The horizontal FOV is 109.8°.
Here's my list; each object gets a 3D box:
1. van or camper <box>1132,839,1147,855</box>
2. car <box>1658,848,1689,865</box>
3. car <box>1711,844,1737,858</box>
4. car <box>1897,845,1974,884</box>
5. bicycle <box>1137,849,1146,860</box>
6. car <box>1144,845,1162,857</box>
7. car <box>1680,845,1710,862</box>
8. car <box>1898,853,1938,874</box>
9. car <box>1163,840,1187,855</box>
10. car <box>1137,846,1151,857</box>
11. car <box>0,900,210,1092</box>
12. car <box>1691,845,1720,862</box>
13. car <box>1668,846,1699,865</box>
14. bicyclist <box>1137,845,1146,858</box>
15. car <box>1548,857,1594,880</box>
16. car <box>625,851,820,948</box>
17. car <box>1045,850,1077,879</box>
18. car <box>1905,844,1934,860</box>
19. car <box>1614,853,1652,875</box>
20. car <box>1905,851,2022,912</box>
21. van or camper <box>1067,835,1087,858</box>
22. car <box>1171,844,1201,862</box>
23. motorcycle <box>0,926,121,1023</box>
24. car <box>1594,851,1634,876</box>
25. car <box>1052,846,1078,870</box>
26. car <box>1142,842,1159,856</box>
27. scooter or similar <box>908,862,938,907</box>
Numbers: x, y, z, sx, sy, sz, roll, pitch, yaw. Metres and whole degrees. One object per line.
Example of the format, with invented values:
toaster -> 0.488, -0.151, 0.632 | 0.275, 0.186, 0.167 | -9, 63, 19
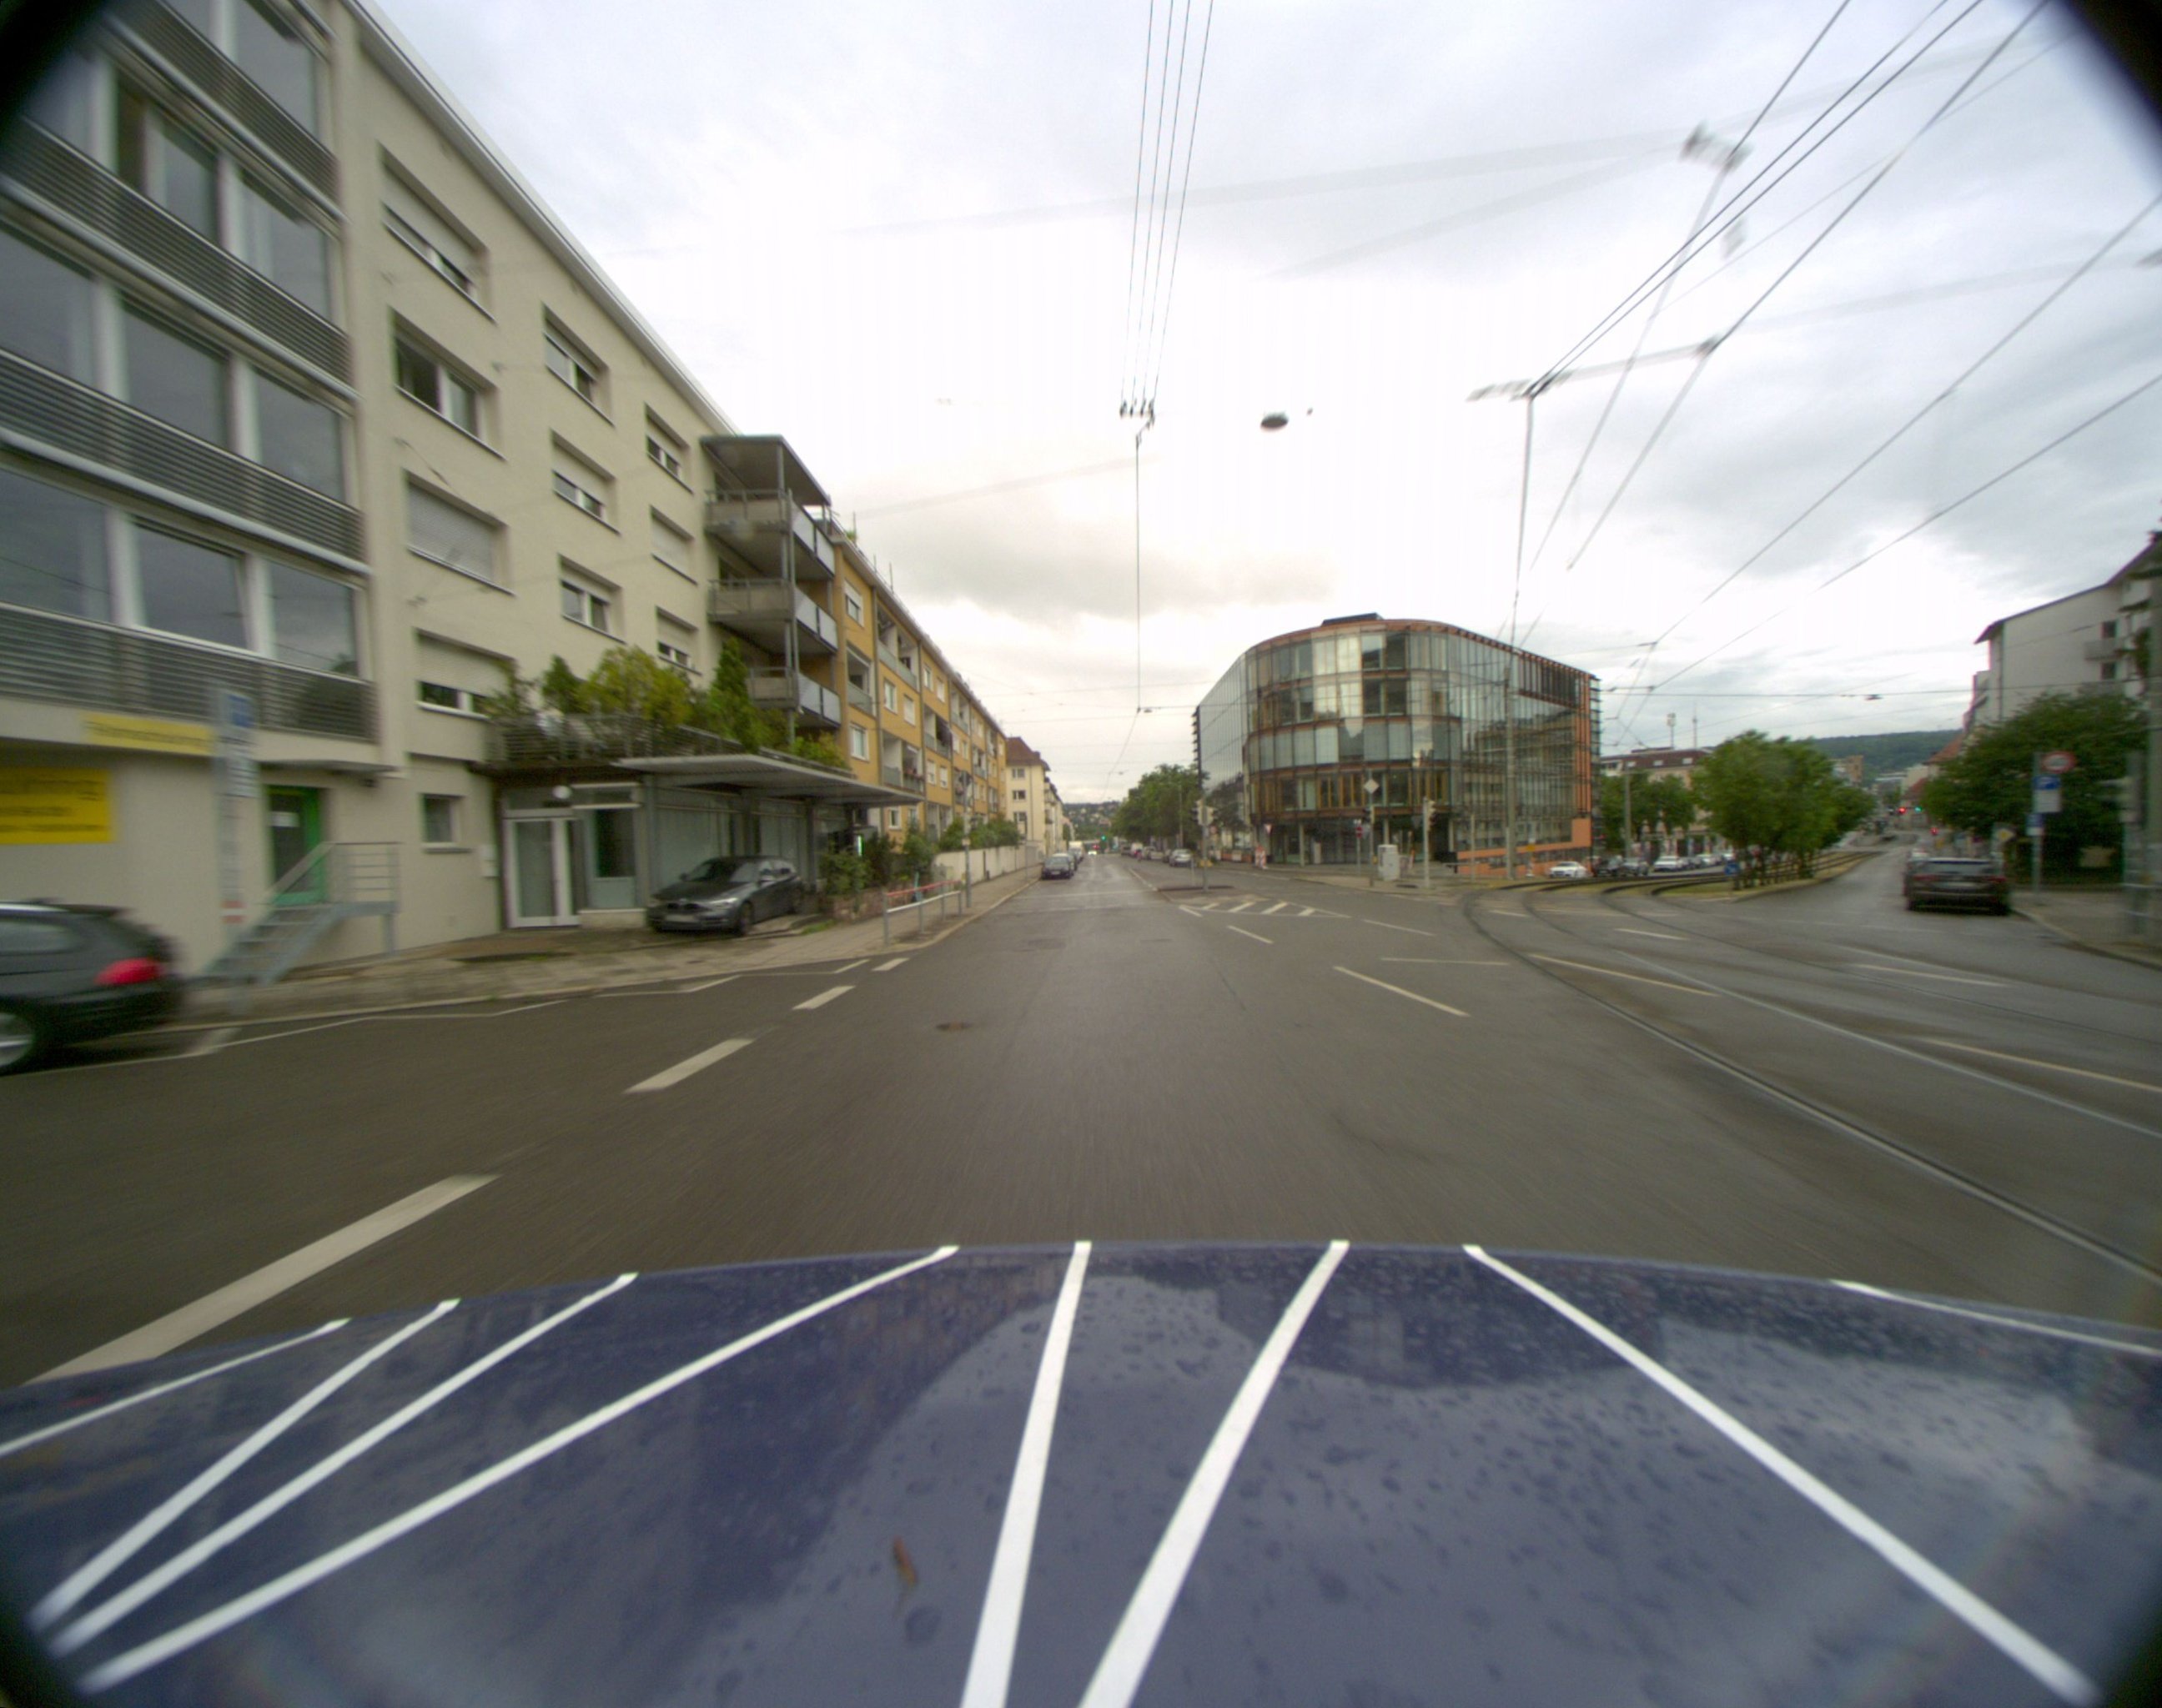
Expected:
van or camper -> 10.431, -1.232, 135.760 | 2.143, 2.588, 5.548 | -3, 2, 2
car -> 61.973, 0.268, 79.488 | 4.006, 1.501, 1.784 | -5, 3, -40
car -> 82.209, -0.423, 97.181 | 4.008, 1.740, 1.912 | -2, 1, -40
car -> 35.363, 0.494, 31.557 | 4.322, 1.498, 1.994 | 2, -2, -43
bicycle -> 7.030, 0.031, 88.187 | 0.826, 1.142, 2.126 | -2, 2, 1
car -> 9.843, -0.452, 104.066 | 1.881, 1.390, 3.997 | -2, 2, -2
car -> 69.328, -0.062, 85.827 | 4.006, 1.740, 1.912 | -5, 3, -40
car -> 64.015, 0.750, 58.159 | 4.322, 1.498, 1.994 | 2, -2, -43
car -> 9.814, -0.687, 79.686 | 1.727, 1.456, 4.328 | -1, 1, -3
car -> 10.753, -0.420, 129.711 | 1.998, 1.566, 3.998 | -3, 2, 0
car -> -10.147, 1.143, 5.755 | 4.459, 1.448, 1.996 | 1, -2, -42
car -> 73.656, -0.095, 89.622 | 4.006, 1.740, 1.912 | -5, 3, -40
car -> 65.183, 0.116, 82.187 | 4.006, 1.740, 1.912 | -5, 3, -40
bicyclist -> 7.017, -0.314, 88.153 | 0.826, 1.454, 1.140 | -3, 3, 1
car -> 38.455, 1.100, 59.568 | 4.006, 1.488, 1.912 | -5, 3, -40
car -> -7.210, 0.805, 15.864 | 1.858, 1.495, 4.447 | 2, 3, 1
car -> -1.184, 0.594, 47.090 | 1.734, 1.452, 4.476 | -3, 2, 0
car -> 89.094, -0.154, 80.798 | 4.712, 1.498, 1.994 | 2, -2, -43
car -> 50.944, 0.927, 70.072 | 4.006, 1.740, 1.912 | -5, 3, -40
car -> 24.047, 0.674, 20.847 | 4.501, 1.453, 1.869 | -1, 2, -43
van or camper -> -0.565, -1.205, 115.467 | 2.753, 3.041, 7.028 | -3, 2, 2
car -> 8.844, -0.075, 64.220 | 1.862, 1.387, 4.644 | -2, 1, 0
motorcycle -> -12.202, 1.339, 8.195 | 2.218, 0.974, 0.550 | 1, 0, -42
car -> 46.795, 0.838, 66.663 | 4.006, 1.883, 1.912 | -5, 3, -40
car -> -1.102, 0.252, 52.780 | 1.652, 1.452, 4.100 | -3, 2, -1
car -> 10.038, -0.730, 109.320 | 1.881, 1.700, 3.997 | -2, 2, -2
scooter or similar -> -5.087, 0.959, 24.535 | 0.536, 1.320, 1.659 | 2, 2, 2
